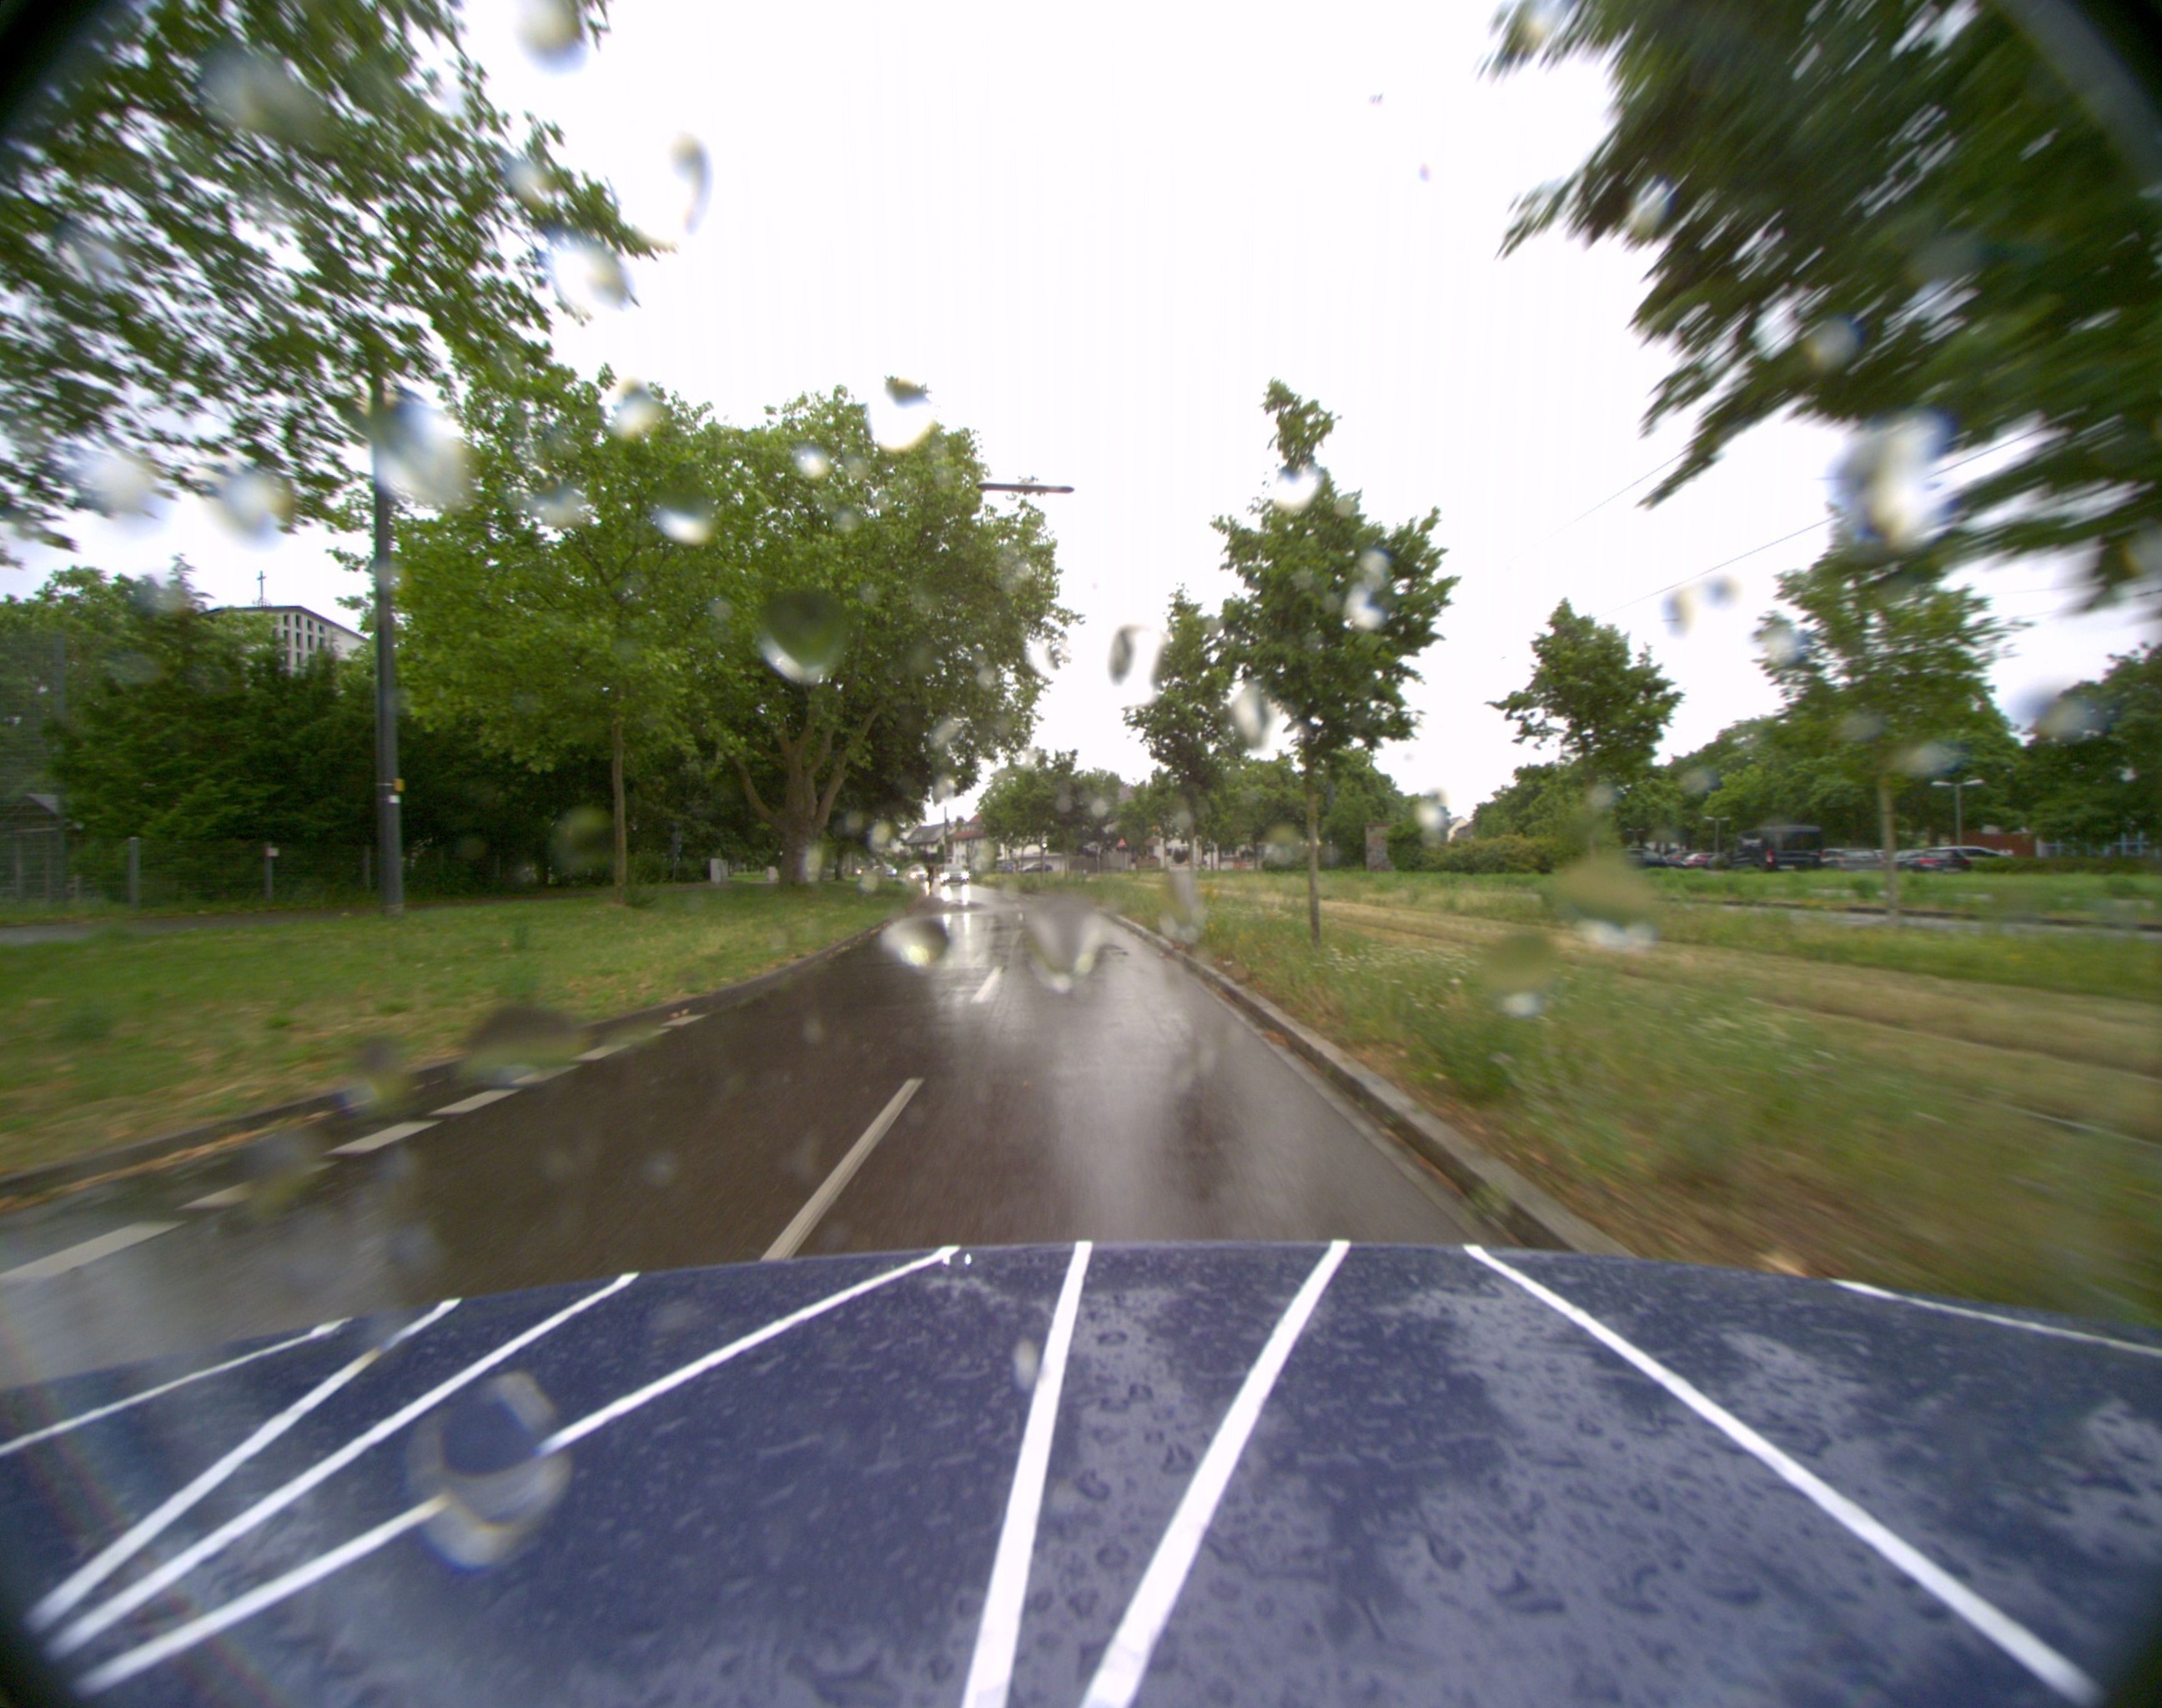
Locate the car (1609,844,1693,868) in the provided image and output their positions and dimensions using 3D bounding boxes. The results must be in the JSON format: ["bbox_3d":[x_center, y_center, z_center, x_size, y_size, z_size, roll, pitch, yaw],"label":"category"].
[{"bbox_3d":[35.869,0.159,47.932,4.051,1.426,1.694,-1,0,28],"label":"car"}]

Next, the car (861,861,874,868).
[{"bbox_3d":[-49.116,2.457,174.710,1.762,1.604,4.102,-4,1,-28],"label":"car"}]

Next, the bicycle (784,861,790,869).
[{"bbox_3d":[-46.726,1.775,120.788,0.714,1.136,1.968,-1,2,-18],"label":"bicycle"}]

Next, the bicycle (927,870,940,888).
[{"bbox_3d":[-9.178,1.536,47.262,0.659,1.008,2.255,-1,0,-7],"label":"bicycle"}]

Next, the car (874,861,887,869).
[{"bbox_3d":[-43.441,2.327,164.552,1.721,1.520,3.593,-4,1,-29],"label":"car"}]

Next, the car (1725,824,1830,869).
[{"bbox_3d":[32.653,-0.316,35.813,2.032,1.936,4.722,-1,0,21],"label":"car"}]

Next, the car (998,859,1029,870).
[{"bbox_3d":[-9.912,1.537,111.383,4.006,1.567,1.888,-1,0,-29],"label":"car"}]

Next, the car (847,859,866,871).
[{"bbox_3d":[-32.273,1.586,109.270,1.771,1.715,3.925,-1,0,-30],"label":"car"}]

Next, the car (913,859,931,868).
[{"bbox_3d":[-28.878,1.744,137.528,2.002,1.604,4.674,-3,0,-27],"label":"car"}]

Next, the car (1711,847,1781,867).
[{"bbox_3d":[55.115,0.221,63.057,4.053,1.564,1.693,-1,0,19],"label":"car"}]

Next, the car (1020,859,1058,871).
[{"bbox_3d":[-5.735,1.500,104.136,4.747,1.357,1.844,-2,0,-25],"label":"car"}]

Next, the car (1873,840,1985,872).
[{"bbox_3d":[37.507,0.095,33.762,1.832,1.331,4.105,-1,0,25],"label":"car"}]

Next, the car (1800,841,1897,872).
[{"bbox_3d":[35.330,0.128,35.133,1.832,1.331,4.105,-1,0,25],"label":"car"}]

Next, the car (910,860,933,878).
[{"bbox_3d":[-15.876,1.467,75.364,1.770,1.715,3.928,-2,0,-18],"label":"car"}]

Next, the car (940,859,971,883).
[{"bbox_3d":[-9.684,1.311,58.514,1.769,1.715,3.929,-3,0,-16],"label":"car"}]

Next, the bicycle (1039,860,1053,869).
[{"bbox_3d":[-4.533,1.391,98.758,1.837,1.013,0.483,-2,2,38],"label":"bicycle"}]

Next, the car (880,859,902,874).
[{"bbox_3d":[-23.341,1.535,93.164,1.771,1.715,3.926,-1,0,-27],"label":"car"}]

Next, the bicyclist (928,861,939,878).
[{"bbox_3d":[-9.185,0.951,47.268,0.622,1.078,0.624,-1,0,-8],"label":"bicyclist"}]
